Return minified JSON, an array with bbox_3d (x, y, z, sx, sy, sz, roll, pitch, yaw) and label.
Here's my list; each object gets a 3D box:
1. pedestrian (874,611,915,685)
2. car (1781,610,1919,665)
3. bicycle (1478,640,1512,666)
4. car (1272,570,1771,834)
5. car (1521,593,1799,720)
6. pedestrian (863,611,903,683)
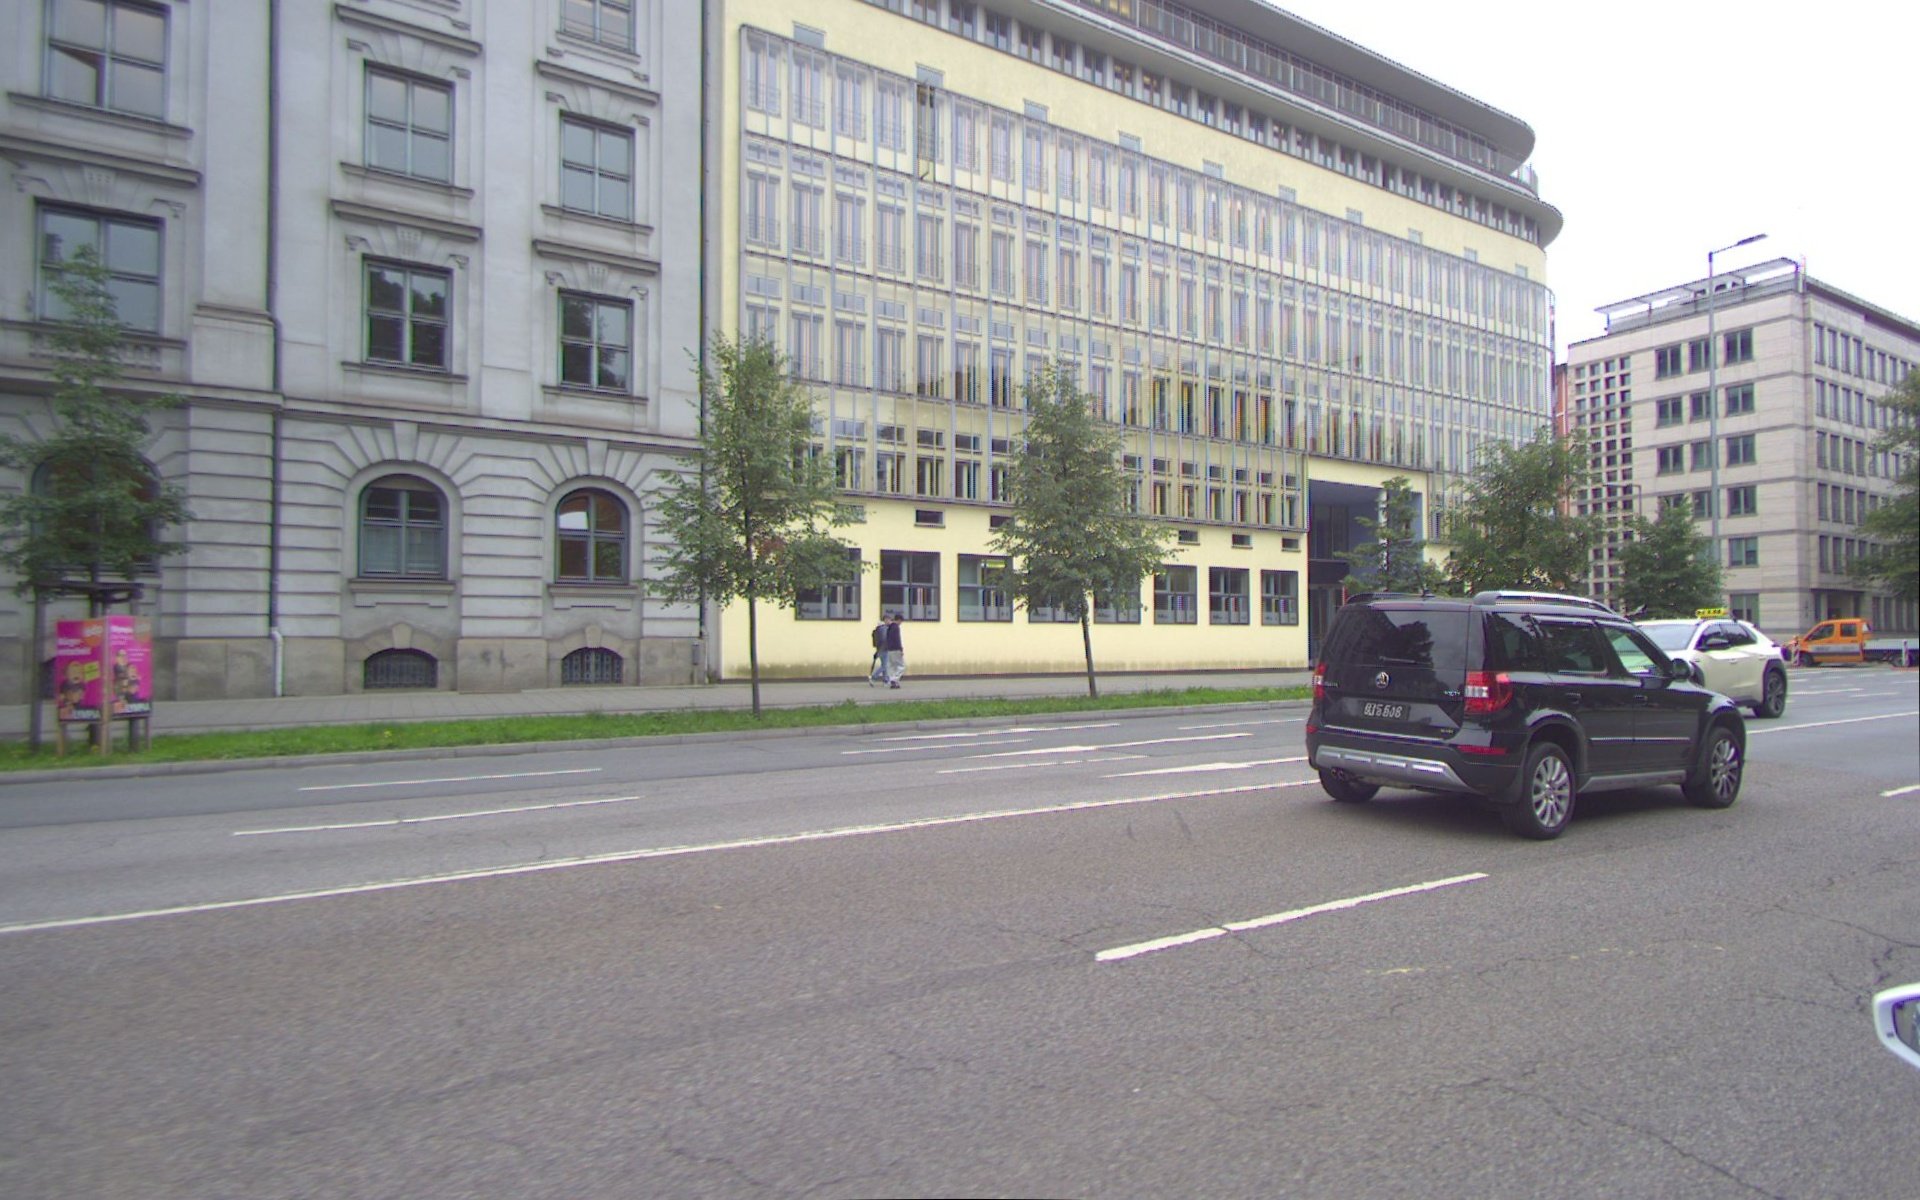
[{"bbox_3d":[-1.632,1.184,24.977,0.826,1.800,0.612,1,-1,-30],"label":"pedestrian"},{"bbox_3d":[43.912,1.825,48.932,2.134,2.570,5.647,1,-2,-33],"label":"car"},{"bbox_3d":[22.133,2.184,41.532,1.577,1.026,0.569,1,-1,-34],"label":"bicycle"},{"bbox_3d":[4.634,0.717,8.152,4.157,1.658,1.714,2,-2,-31],"label":"car"},{"bbox_3d":[11.221,0.878,16.047,4.575,1.771,1.849,1,-4,-30],"label":"car"},{"bbox_3d":[-1.964,1.188,25.575,0.826,1.800,0.612,1,-1,-30],"label":"pedestrian"}]
